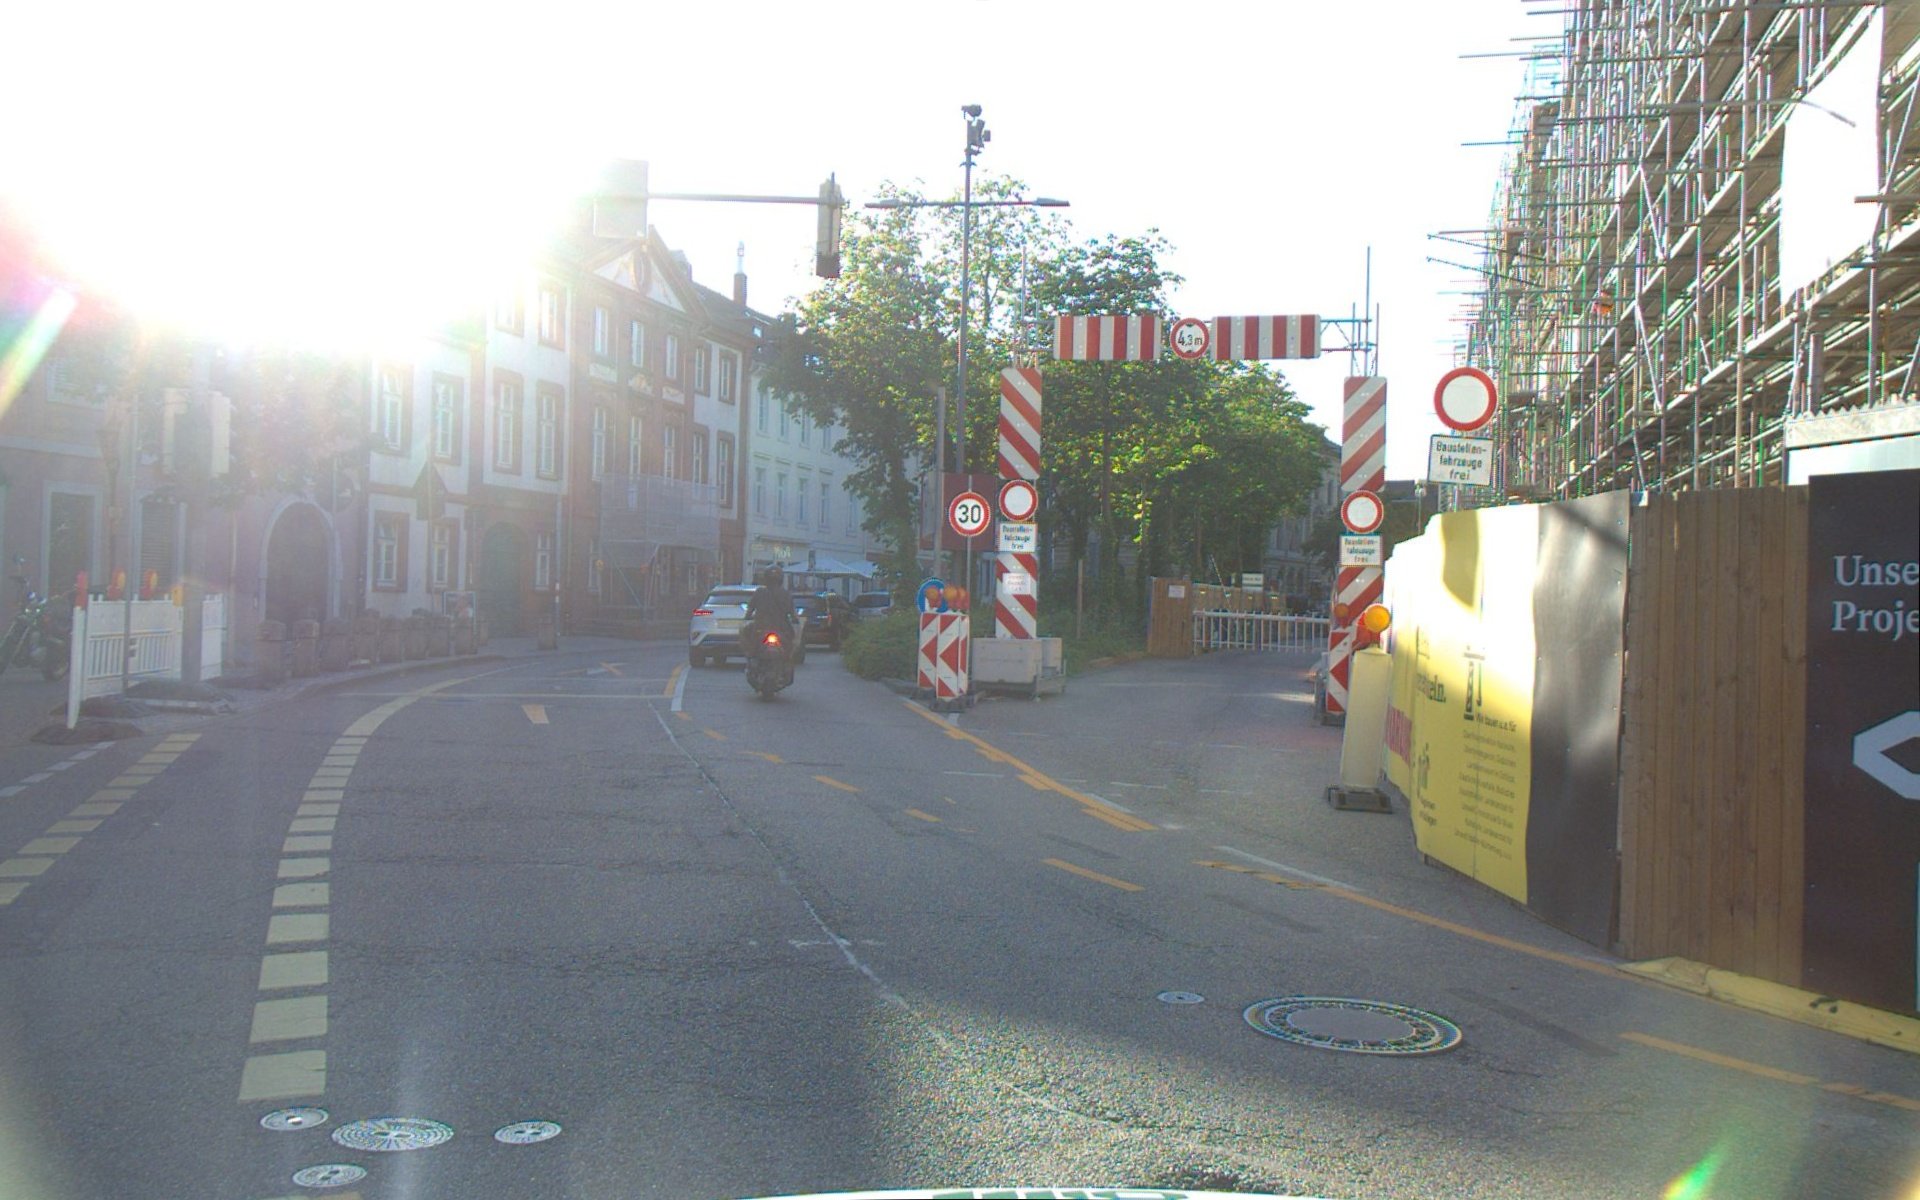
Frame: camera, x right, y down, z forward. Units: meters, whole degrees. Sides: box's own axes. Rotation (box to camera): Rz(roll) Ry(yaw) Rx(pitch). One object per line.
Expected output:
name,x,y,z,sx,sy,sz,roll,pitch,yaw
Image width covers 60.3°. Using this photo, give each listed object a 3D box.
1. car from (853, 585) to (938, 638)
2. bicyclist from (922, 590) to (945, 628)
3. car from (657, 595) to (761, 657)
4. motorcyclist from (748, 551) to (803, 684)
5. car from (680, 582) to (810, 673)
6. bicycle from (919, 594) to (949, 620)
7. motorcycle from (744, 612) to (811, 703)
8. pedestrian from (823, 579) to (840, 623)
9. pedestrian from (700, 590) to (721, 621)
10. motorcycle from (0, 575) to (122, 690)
car,-2.276,0.426,59.248,1.801,1.743,4.060,2,0,16
bicyclist,-1.129,0.396,71.396,0.728,1.611,0.795,2,0,15
car,-6.632,0.669,44.090,1.801,1.489,4.059,2,0,4
motorcyclist,-2.406,0.229,21.556,0.644,1.679,0.650,2,0,-7
car,-3.935,0.481,30.958,1.813,1.506,4.057,2,0,0
bicycle,-1.123,0.308,71.370,0.755,1.081,2.079,1,0,15
motorcycle,-2.369,0.723,21.335,0.781,1.085,1.722,2,0,-7
pedestrian,-5.332,0.057,68.734,0.429,1.806,0.596,1,-1,28
pedestrian,-8.830,0.211,58.557,0.525,1.071,0.552,2,0,11
motorcycle,-11.371,0.369,20.490,0.795,1.340,2.336,1,0,-1
